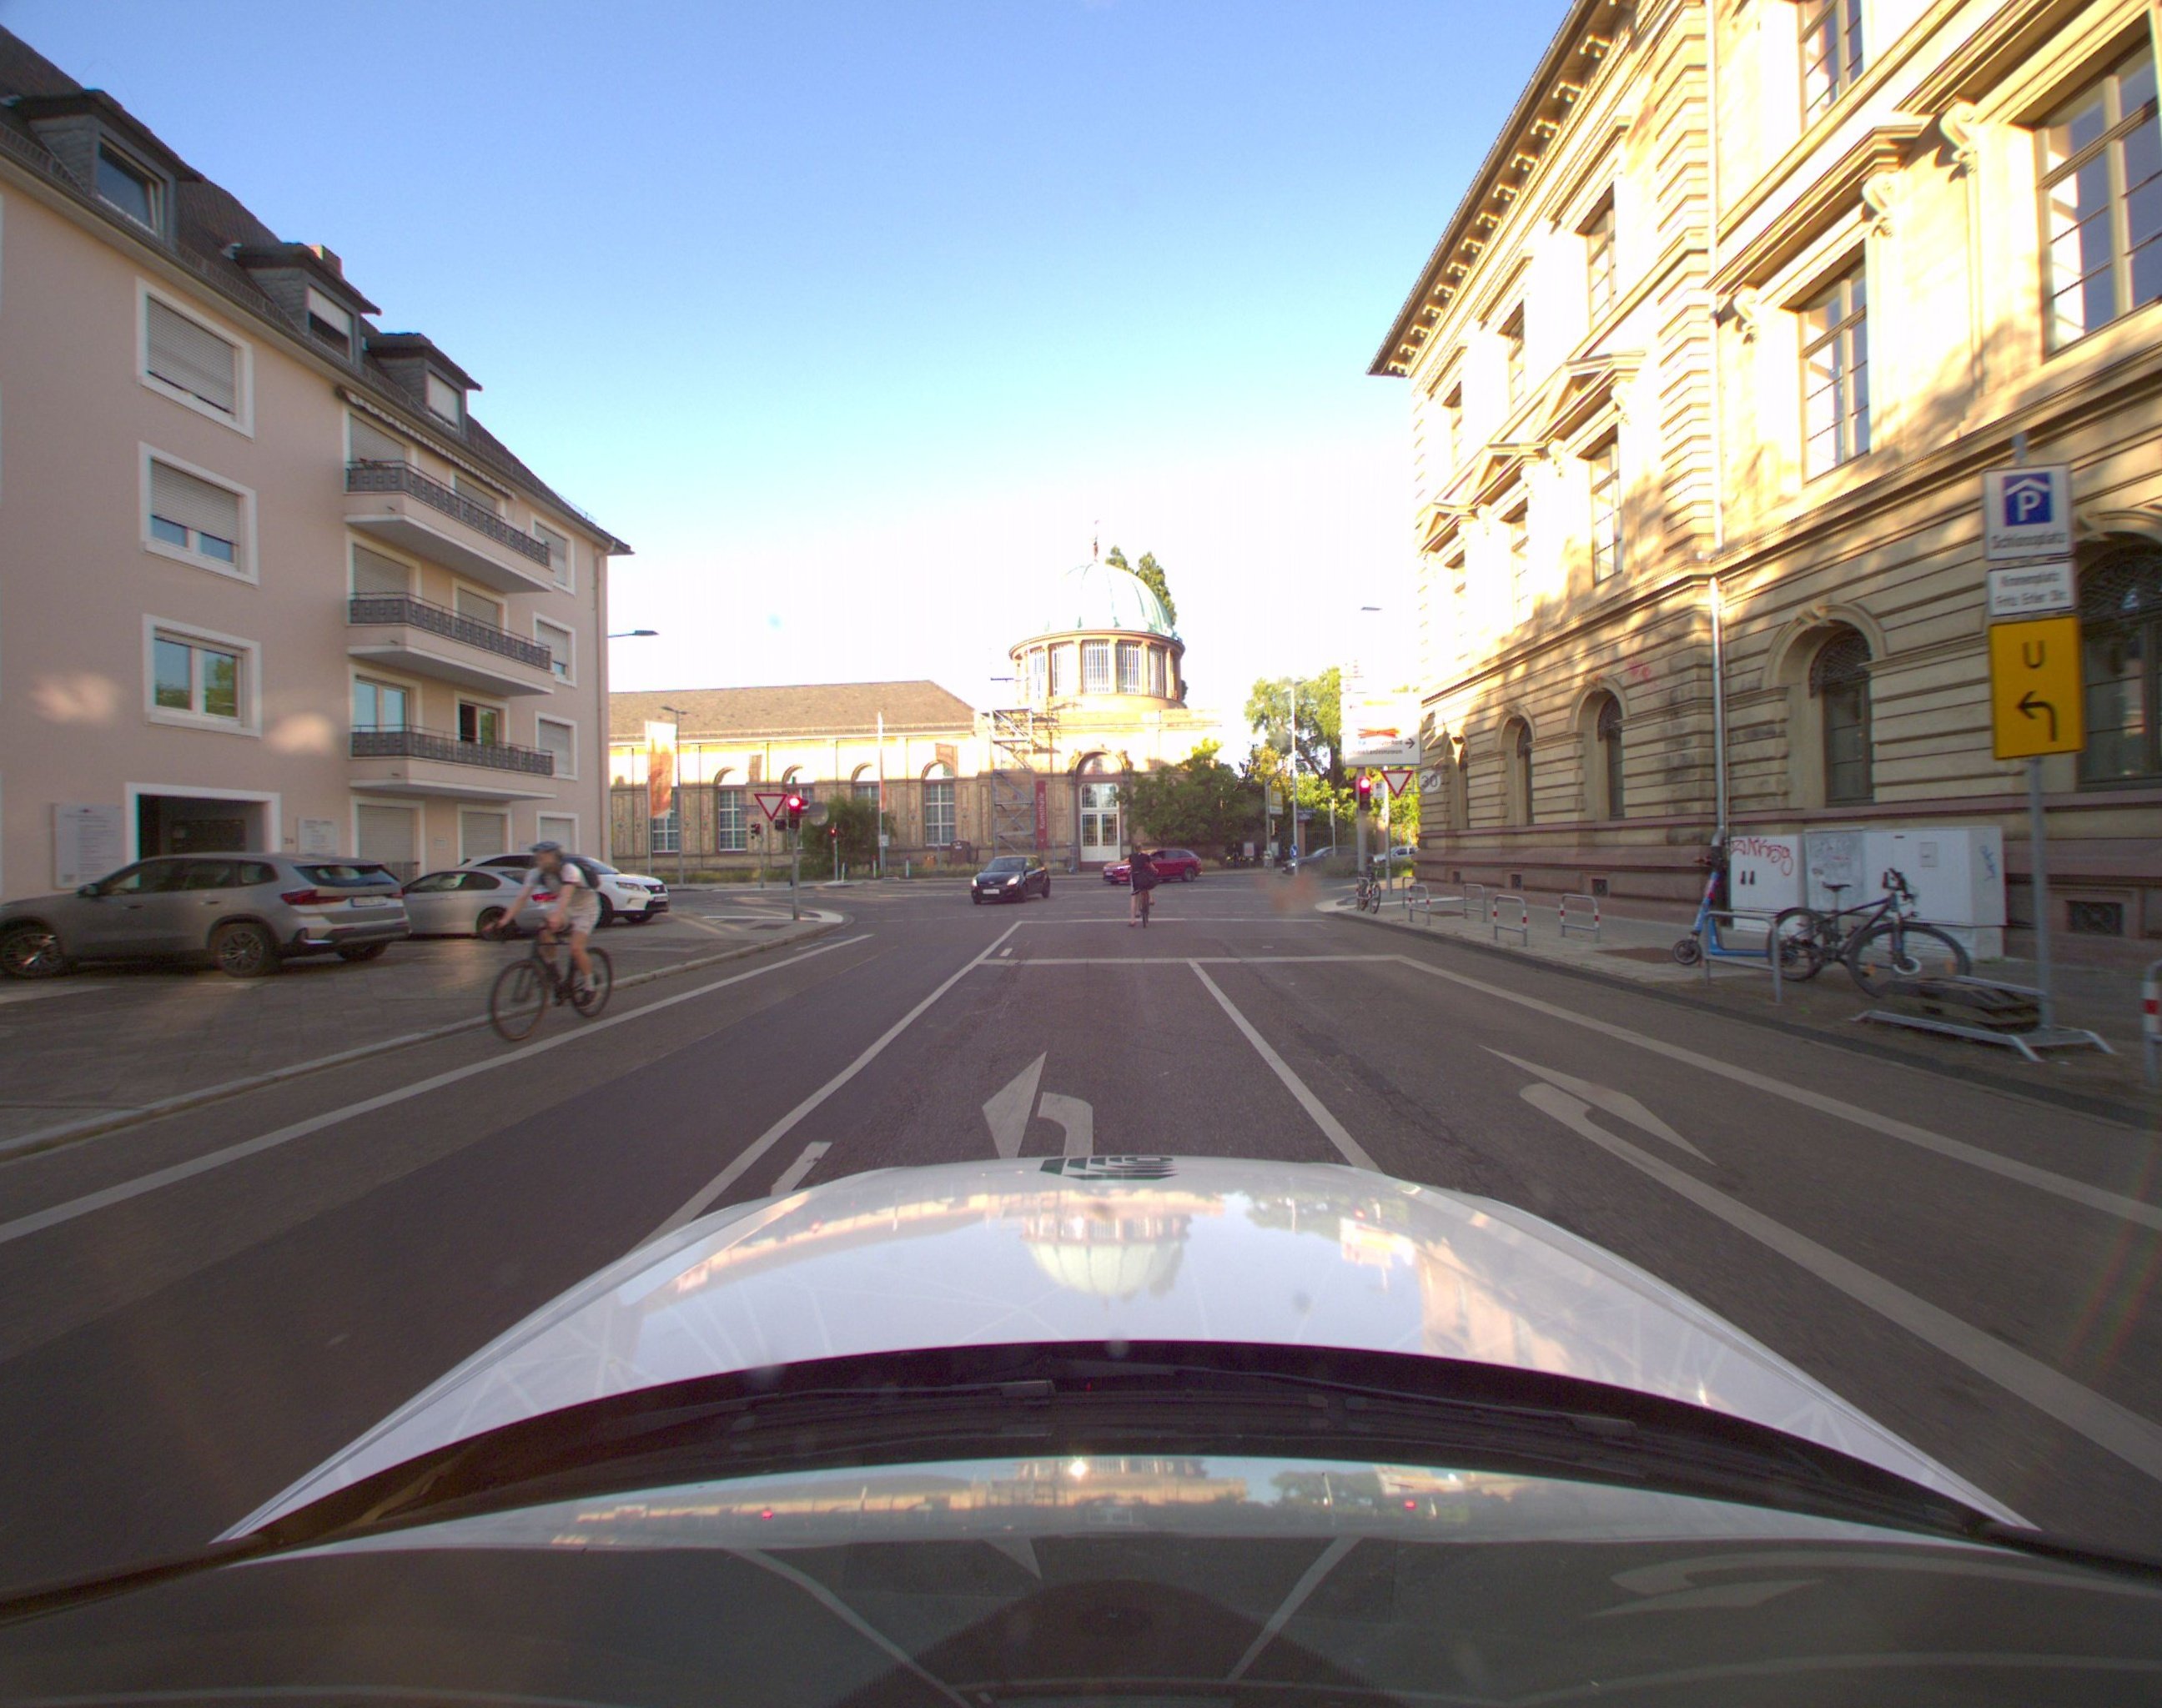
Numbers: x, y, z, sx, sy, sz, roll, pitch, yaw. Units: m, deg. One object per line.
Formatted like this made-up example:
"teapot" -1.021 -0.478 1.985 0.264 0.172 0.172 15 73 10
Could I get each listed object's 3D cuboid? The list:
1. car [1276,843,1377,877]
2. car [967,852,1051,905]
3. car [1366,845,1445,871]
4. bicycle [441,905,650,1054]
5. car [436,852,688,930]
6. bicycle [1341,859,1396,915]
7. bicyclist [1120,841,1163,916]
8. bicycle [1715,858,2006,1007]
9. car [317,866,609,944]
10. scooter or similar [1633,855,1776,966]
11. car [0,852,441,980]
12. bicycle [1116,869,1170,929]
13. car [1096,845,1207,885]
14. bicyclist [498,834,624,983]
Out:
"car" 12.008 0.294 39.975 4.408 1.459 1.782 -2 0 -10
"car" -2.268 0.742 26.694 1.647 1.471 3.866 -2 1 11
"car" 19.836 0.227 49.829 4.176 1.445 1.712 -2 0 -4
"bicycle" -5.070 1.125 7.908 0.622 1.156 2.053 -1 -2 2
"car" -11.603 0.795 18.445 4.426 1.641 1.941 0 0 -1
"bicycle" 6.487 0.725 18.492 0.580 1.188 1.921 -1 -2 2
"bicyclist" 1.261 0.514 16.870 0.710 1.502 0.854 -2 -2 15
"bicycle" 7.103 0.647 7.601 0.824 1.134 1.945 -4 0 2
"car" -11.769 0.942 15.715 4.253 1.380 1.735 0 0 -1
"scooter or similar" 6.993 0.624 9.179 1.123 1.195 0.585 -1 0 8
"car" -11.879 0.783 11.305 4.404 1.605 1.916 0 0 -1
"bicycle" 1.323 0.912 17.030 0.706 1.156 2.077 -2 -2 16
"car" 3.224 0.472 36.628 4.867 1.545 1.817 -3 1 -34
"bicyclist" -5.087 0.514 8.016 0.623 1.364 0.929 -1 -2 1
